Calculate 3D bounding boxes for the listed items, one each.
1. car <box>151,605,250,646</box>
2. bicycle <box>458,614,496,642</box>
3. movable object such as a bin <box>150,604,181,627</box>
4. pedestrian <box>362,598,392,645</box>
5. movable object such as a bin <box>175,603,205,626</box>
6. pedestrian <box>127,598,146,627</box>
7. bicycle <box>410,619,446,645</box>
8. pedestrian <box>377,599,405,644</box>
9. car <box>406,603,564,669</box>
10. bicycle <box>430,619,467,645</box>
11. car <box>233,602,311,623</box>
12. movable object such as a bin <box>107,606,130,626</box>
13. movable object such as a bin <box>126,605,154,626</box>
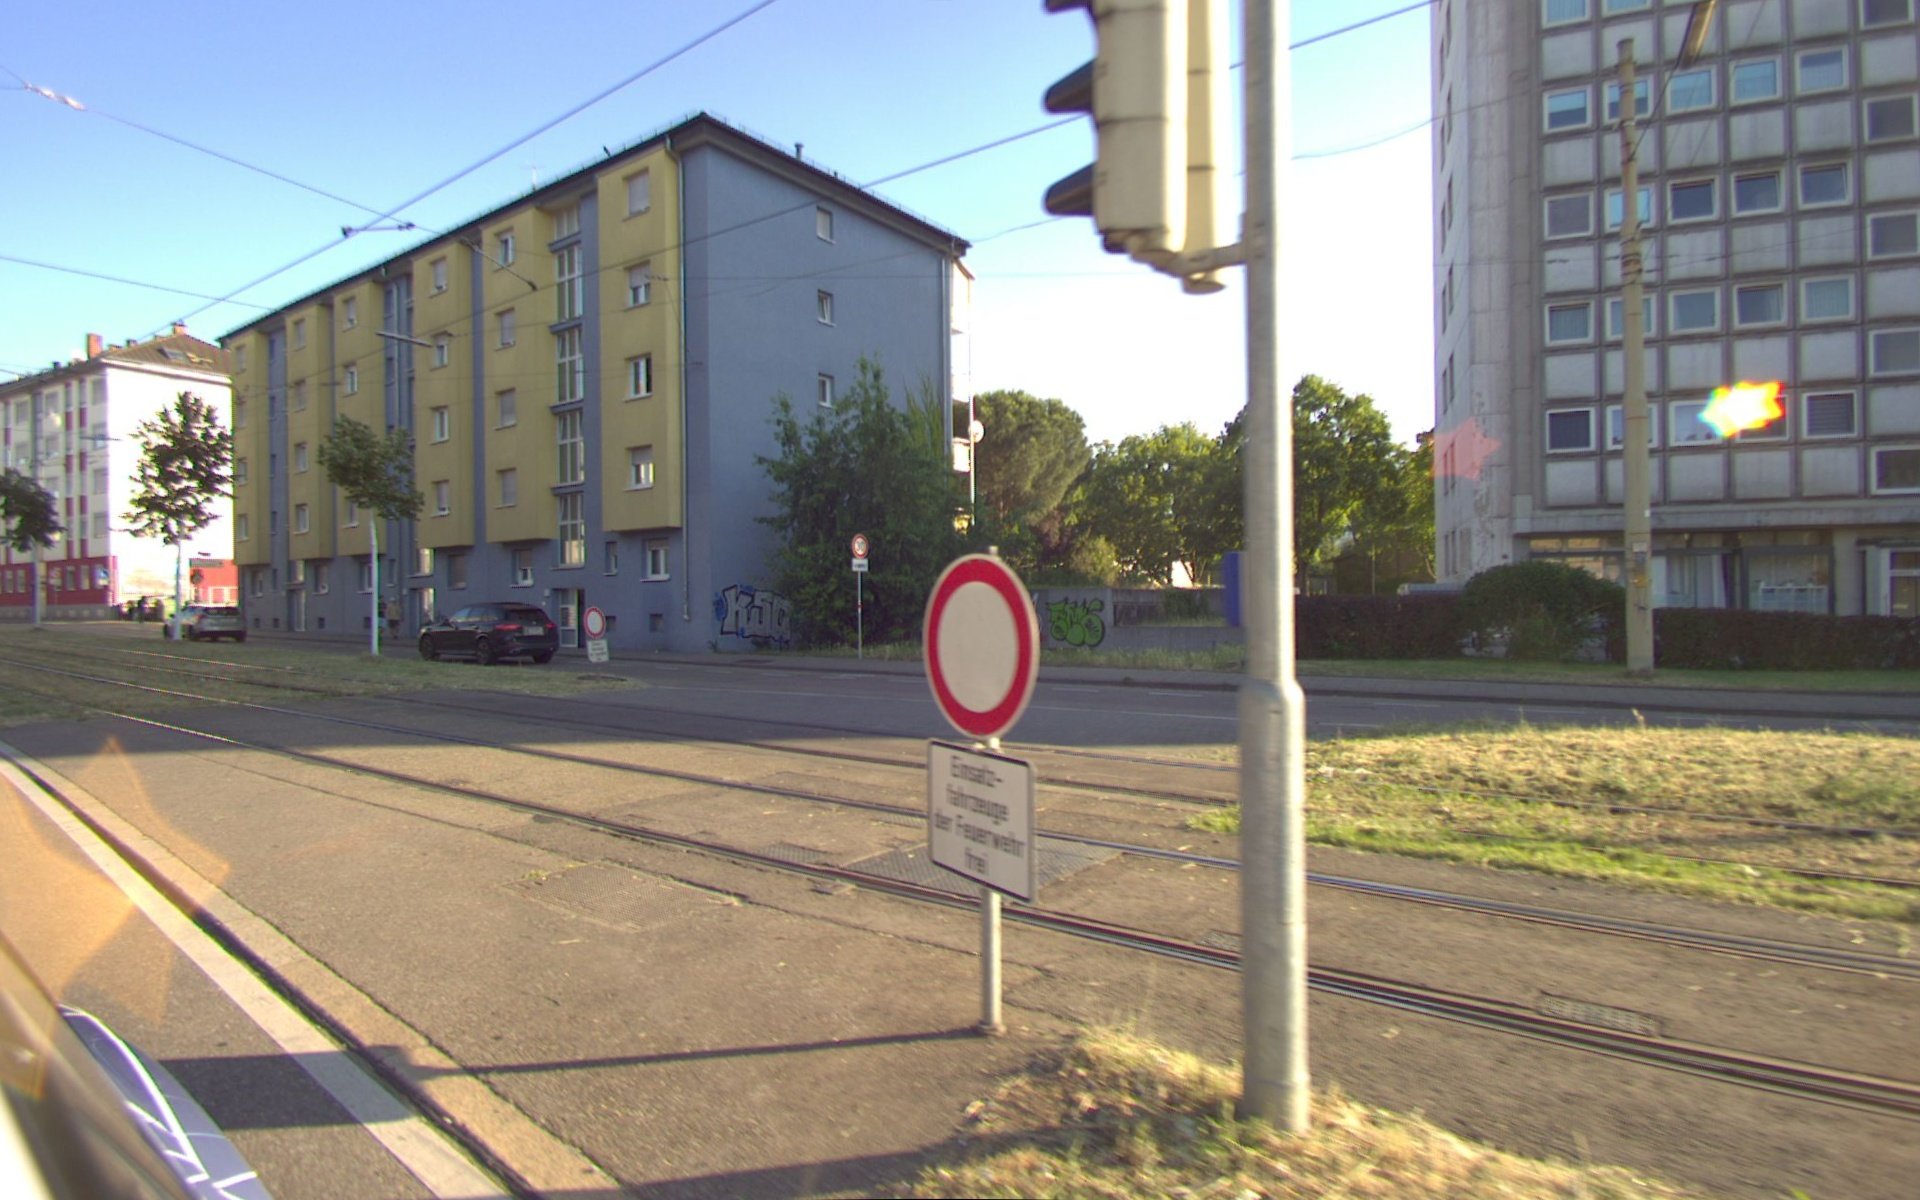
[{"bbox_3d":[-29.781,0.982,39.668,4.303,1.471,1.684,0,-1,33],"label":"car"},{"bbox_3d":[-17.865,1.026,37.451,1.908,0.967,0.423,0,0,37],"label":"bicycle"},{"bbox_3d":[-49.691,0.942,63.260,1.134,1.426,1.208,0,0,30],"label":"movable object such as a bin"},{"bbox_3d":[-22.895,0.840,39.750,0.883,1.786,0.588,-1,4,35],"label":"pedestrian"},{"bbox_3d":[-49.038,0.932,64.443,1.104,1.426,1.208,0,0,30],"label":"movable object such as a bin"},{"bbox_3d":[-48.333,0.711,59.369,0.788,1.702,0.609,-1,0,30],"label":"pedestrian"},{"bbox_3d":[-20.583,1.213,39.151,1.908,0.932,0.423,0,3,37],"label":"bicycle"},{"bbox_3d":[-22.707,0.847,40.400,0.704,1.707,0.611,-1,4,35],"label":"pedestrian"},{"bbox_3d":[-13.244,0.980,28.133,4.697,1.674,1.901,-1,-2,35],"label":"car"},{"bbox_3d":[-19.473,1.212,38.524,1.908,0.932,0.423,0,3,37],"label":"bicycle"},{"bbox_3d":[-44.491,0.786,65.539,1.696,1.303,3.833,0,0,31],"label":"car"},{"bbox_3d":[-51.919,1.000,62.447,0.803,1.235,0.860,0,0,30],"label":"movable object such as a bin"},{"bbox_3d":[-51.397,0.937,63.420,0.803,1.296,1.150,0,0,30],"label":"movable object such as a bin"}]
